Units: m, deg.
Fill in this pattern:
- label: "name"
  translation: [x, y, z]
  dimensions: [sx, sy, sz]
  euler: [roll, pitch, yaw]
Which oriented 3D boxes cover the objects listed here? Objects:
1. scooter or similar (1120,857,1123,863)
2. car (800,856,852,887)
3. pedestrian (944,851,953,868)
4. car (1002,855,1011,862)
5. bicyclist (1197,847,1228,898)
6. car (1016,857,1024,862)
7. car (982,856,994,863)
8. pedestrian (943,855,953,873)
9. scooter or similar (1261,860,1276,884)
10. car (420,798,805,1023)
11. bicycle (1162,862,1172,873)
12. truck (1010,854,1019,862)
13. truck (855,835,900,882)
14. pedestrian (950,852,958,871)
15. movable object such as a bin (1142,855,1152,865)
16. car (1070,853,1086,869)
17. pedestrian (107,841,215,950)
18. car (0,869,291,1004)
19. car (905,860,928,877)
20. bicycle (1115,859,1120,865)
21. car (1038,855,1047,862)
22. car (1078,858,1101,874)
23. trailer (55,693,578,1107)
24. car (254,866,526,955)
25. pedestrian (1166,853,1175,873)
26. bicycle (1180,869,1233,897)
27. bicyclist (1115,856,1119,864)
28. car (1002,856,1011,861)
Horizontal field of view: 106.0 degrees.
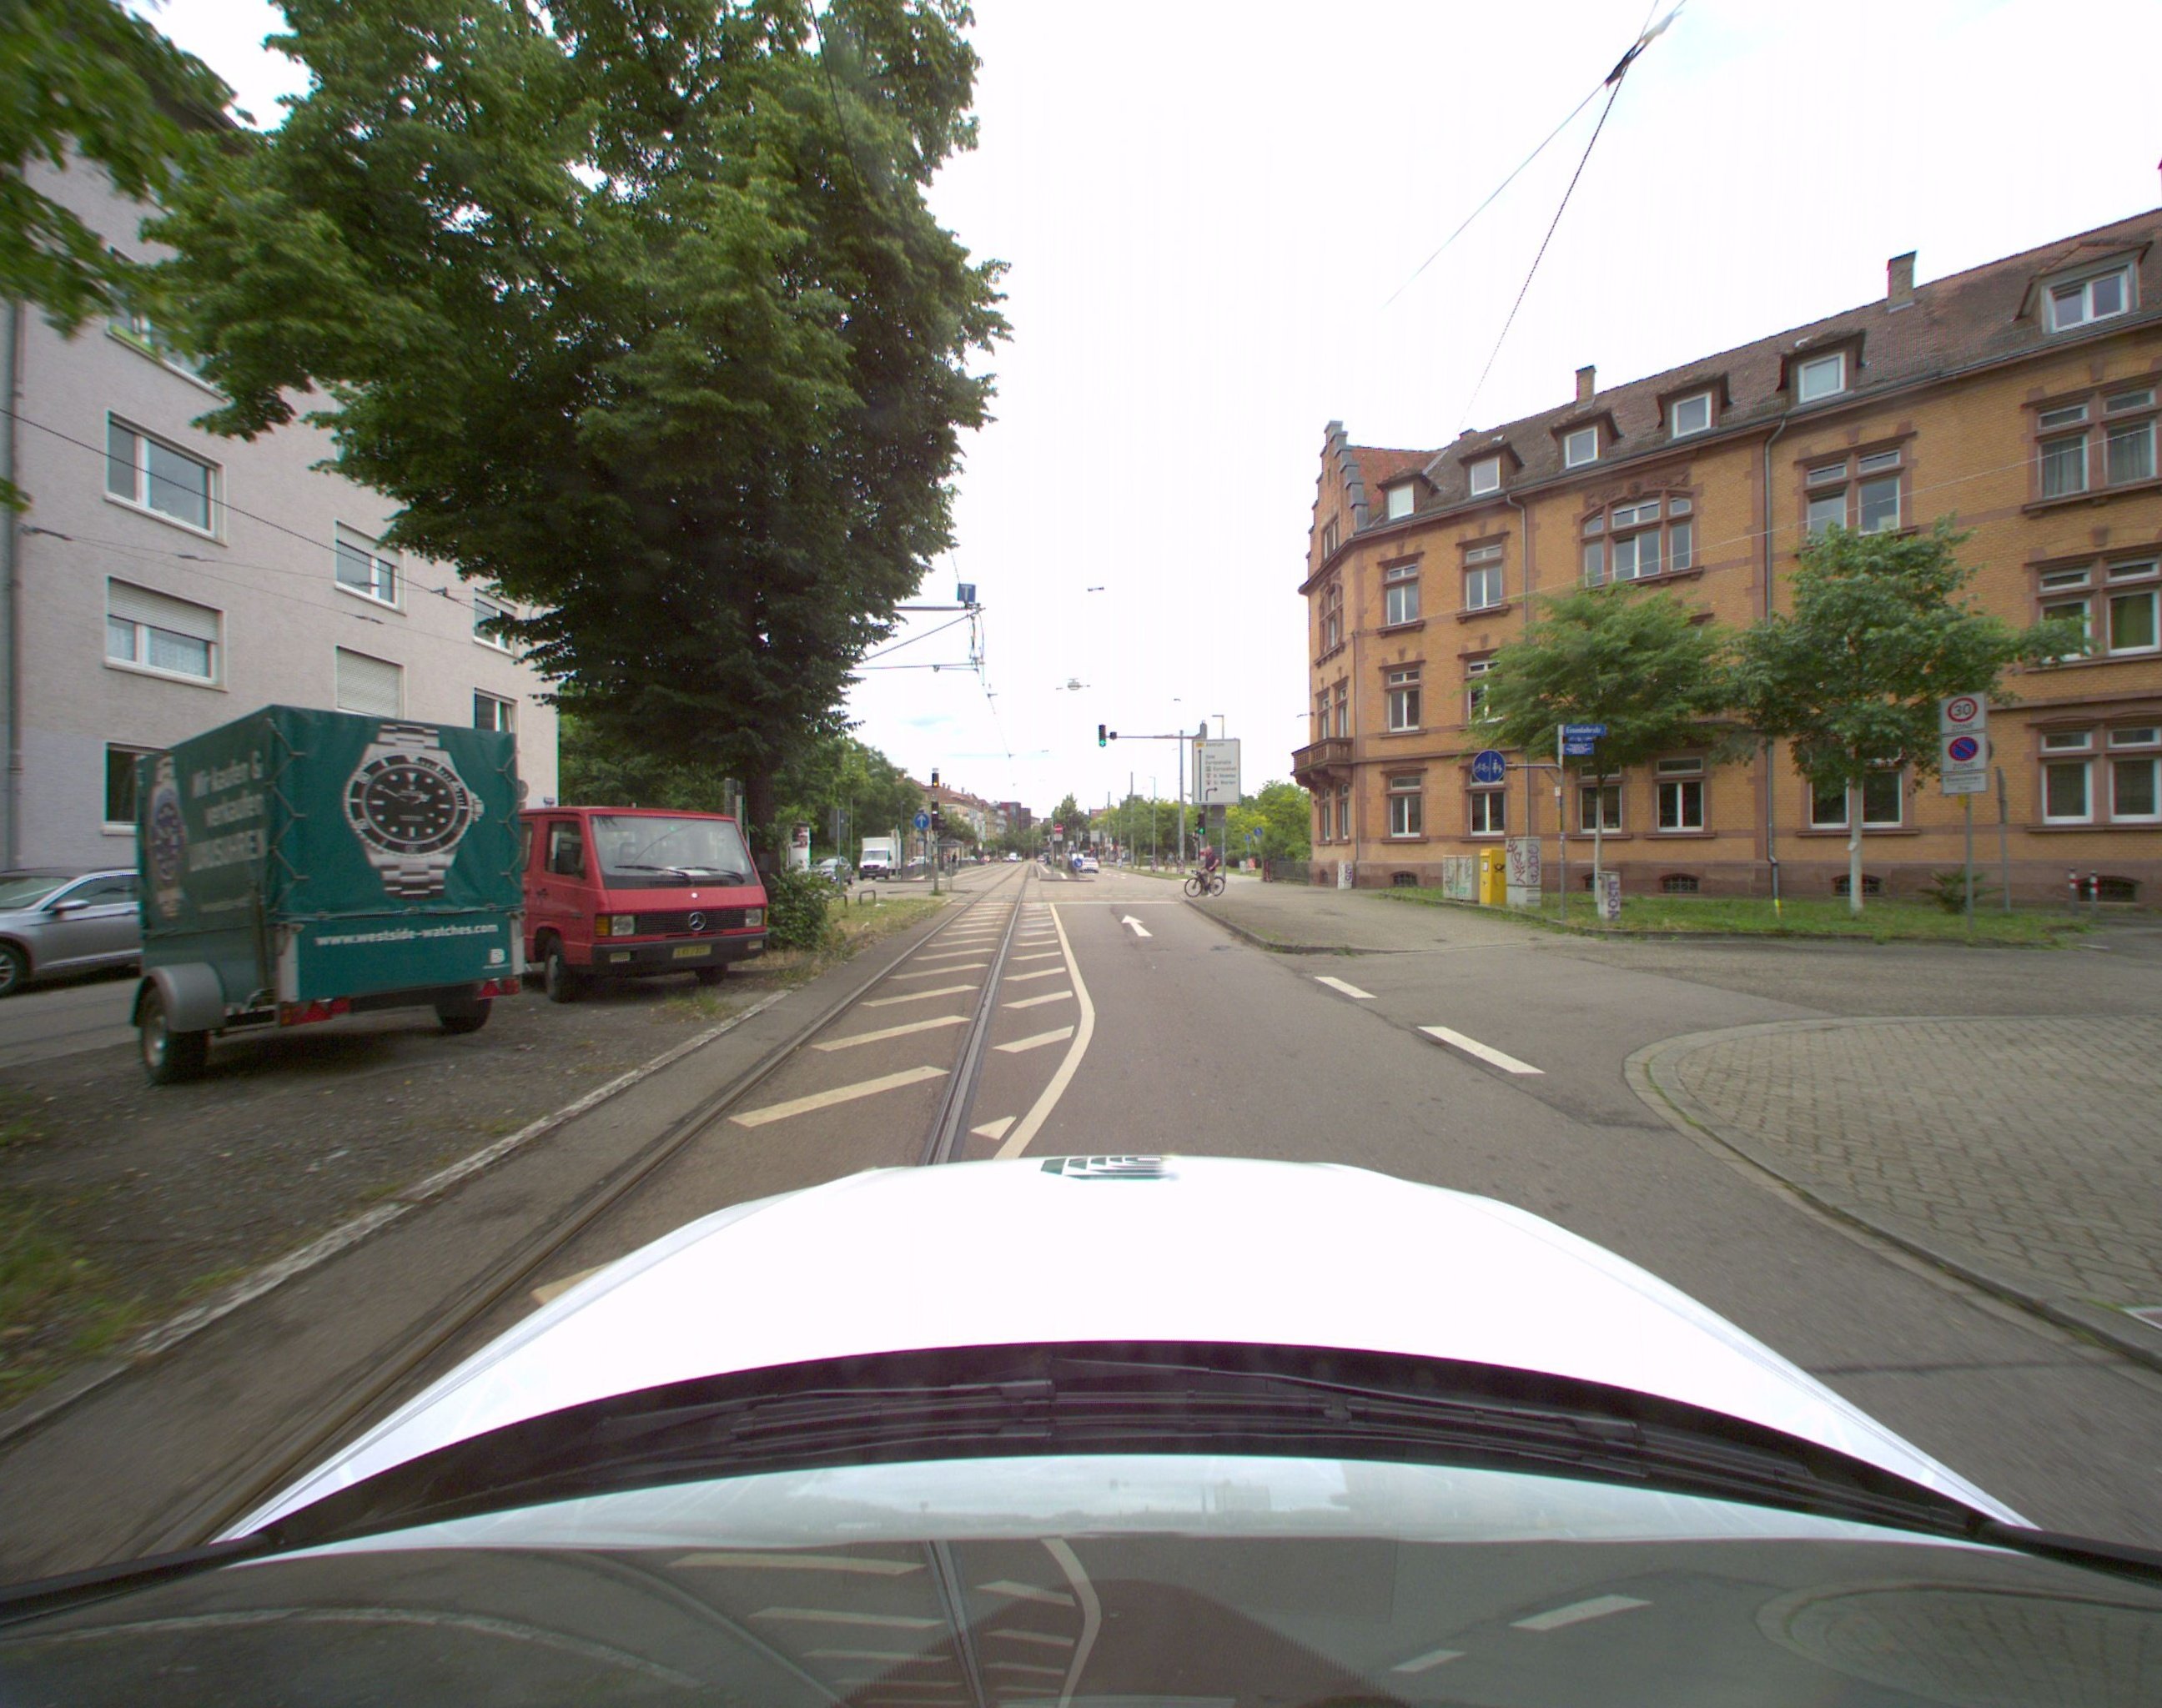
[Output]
- label: "scooter or similar"
  translation: [7.088, 1.032, 141.055]
  dimensions: [0.374, 1.141, 1.202]
  euler: [-1, 0, 8]
- label: "car"
  translation: [-12.982, 0.872, 41.690]
  dimensions: [1.641, 1.534, 4.125]
  euler: [0, -1, -5]
- label: "pedestrian"
  translation: [-12.659, 0.534, 78.055]
  dimensions: [0.767, 1.660, 1.022]
  euler: [-1, 0, -6]
- label: "car"
  translation: [-18.449, 1.117, 201.446]
  dimensions: [1.763, 1.493, 3.889]
  euler: [0, -1, 3]
- label: "bicyclist"
  translation: [4.664, 0.645, 28.894]
  dimensions: [0.684, 1.795, 0.881]
  euler: [0, 0, -35]
- label: "car"
  translation: [-17.211, 1.491, 228.793]
  dimensions: [1.763, 1.493, 3.889]
  euler: [0, -1, 3]
- label: "car"
  translation: [-20.123, 1.210, 176.412]
  dimensions: [1.763, 1.493, 3.889]
  euler: [0, -1, 3]
- label: "pedestrian"
  translation: [-12.304, 0.903, 75.215]
  dimensions: [0.673, 1.624, 0.636]
  euler: [-1, 0, 13]
- label: "scooter or similar"
  translation: [9.140, 0.865, 39.725]
  dimensions: [0.375, 1.141, 1.197]
  euler: [-1, 0, -6]
- label: "car"
  translation: [-5.475, 0.515, 9.301]
  dimensions: [4.706, 1.974, 1.972]
  euler: [-1, 0, 35]
- label: "bicycle"
  translation: [8.106, 1.239, 76.722]
  dimensions: [0.653, 1.003, 1.777]
  euler: [-1, 0, -3]
- label: "truck"
  translation: [-17.374, 0.946, 212.694]
  dimensions: [1.780, 2.032, 5.399]
  euler: [0, -1, 3]
- label: "truck"
  translation: [-14.630, 0.356, 58.953]
  dimensions: [2.182, 3.157, 7.315]
  euler: [0, -1, -6]
- label: "pedestrian"
  translation: [-11.568, 0.676, 74.308]
  dimensions: [0.700, 1.715, 0.696]
  euler: [-1, -1, -12]
- label: "movable object such as a bin"
  translation: [9.357, 0.849, 114.962]
  dimensions: [1.279, 1.390, 1.158]
  euler: [0, -1, -3]
- label: "car"
  translation: [-0.358, 0.892, 103.843]
  dimensions: [1.779, 1.962, 4.376]
  euler: [0, 0, -4]
- label: "pedestrian"
  translation: [-15.496, 0.670, 13.744]
  dimensions: [0.796, 1.766, 0.899]
  euler: [-1, 0, -5]
- label: "car"
  translation: [-12.890, 0.945, 10.289]
  dimensions: [1.632, 1.443, 4.562]
  euler: [0, 0, -5]
- label: "car"
  translation: [-16.202, 1.388, 80.317]
  dimensions: [1.767, 1.639, 4.529]
  euler: [0, -1, -5]
- label: "bicycle"
  translation: [7.008, 1.542, 156.600]
  dimensions: [0.675, 1.155, 1.903]
  euler: [-1, 0, 10]
- label: "car"
  translation: [-8.984, 1.113, 190.419]
  dimensions: [1.764, 1.493, 3.887]
  euler: [0, -1, 1]
- label: "car"
  translation: [0.802, 1.161, 78.875]
  dimensions: [1.781, 1.472, 4.000]
  euler: [0, 0, -7]
- label: "trailer"
  translation: [-5.966, 0.272, 6.341]
  dimensions: [3.624, 2.344, 1.943]
  euler: [-1, 0, 29]
- label: "car"
  translation: [-13.305, 0.989, 16.169]
  dimensions: [1.632, 1.443, 4.754]
  euler: [0, 0, -5]
- label: "pedestrian"
  translation: [8.445, 0.816, 76.839]
  dimensions: [0.738, 1.869, 0.681]
  euler: [-1, 0, -3]
- label: "bicycle"
  translation: [4.491, 1.021, 29.140]
  dimensions: [1.876, 0.924, 0.788]
  euler: [0, 0, -36]
- label: "bicyclist"
  translation: [6.989, 1.164, 156.610]
  dimensions: [0.675, 1.379, 0.729]
  euler: [-1, 0, 9]
- label: "car"
  translation: [-19.614, 1.197, 214.171]
  dimensions: [1.763, 1.493, 3.889]
  euler: [0, -1, 3]
